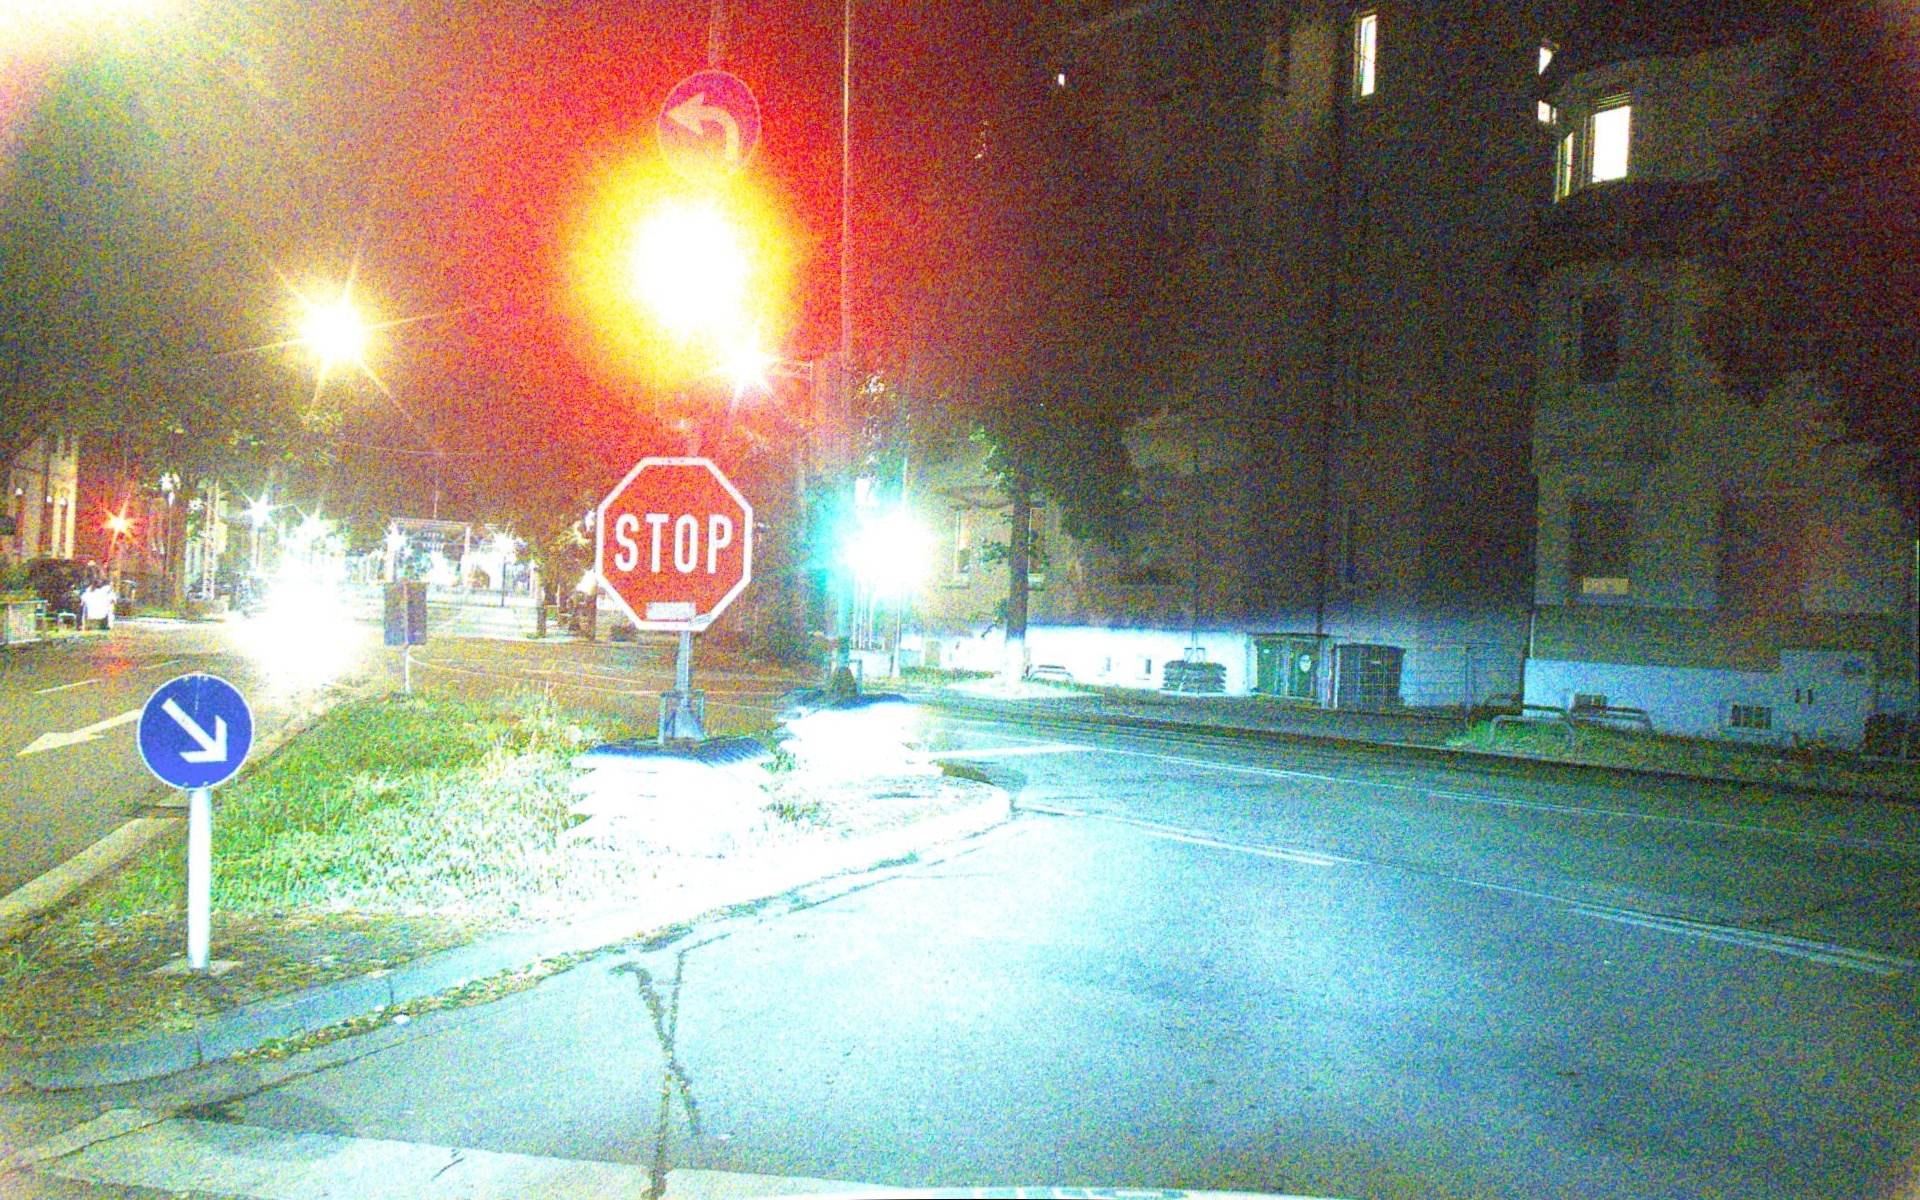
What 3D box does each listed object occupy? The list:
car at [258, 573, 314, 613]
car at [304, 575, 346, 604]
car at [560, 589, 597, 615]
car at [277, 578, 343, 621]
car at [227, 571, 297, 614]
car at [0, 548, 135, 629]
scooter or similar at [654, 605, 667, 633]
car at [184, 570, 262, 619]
[{"bbox_3d":[-29.279,-0.326,71.909,1.757,1.517,3.981,6,-1,-17],"label":"car"},{"bbox_3d":[-35.184,-0.571,91.710,1.756,1.440,4.107,5,-1,-17],"label":"car"},{"bbox_3d":[-24.041,0.135,104.084,1.708,1.485,4.701,4,-1,-19],"label":"car"},{"bbox_3d":[-22.955,-0.028,58.531,1.687,1.454,3.984,1,0,-15],"label":"car"},{"bbox_3d":[-27.882,-0.311,66.218,1.754,1.517,4.314,6,-1,-14],"label":"car"},{"bbox_3d":[-20.400,-0.252,37.756,1.854,1.624,4.009,5,-1,-14],"label":"car"},{"bbox_3d":[-12.435,0.788,68.660,0.414,1.150,1.491,2,0,-8],"label":"scooter or similar"},{"bbox_3d":[-25.790,-0.203,57.945,1.564,1.517,3.689,6,-1,-11],"label":"car"}]
